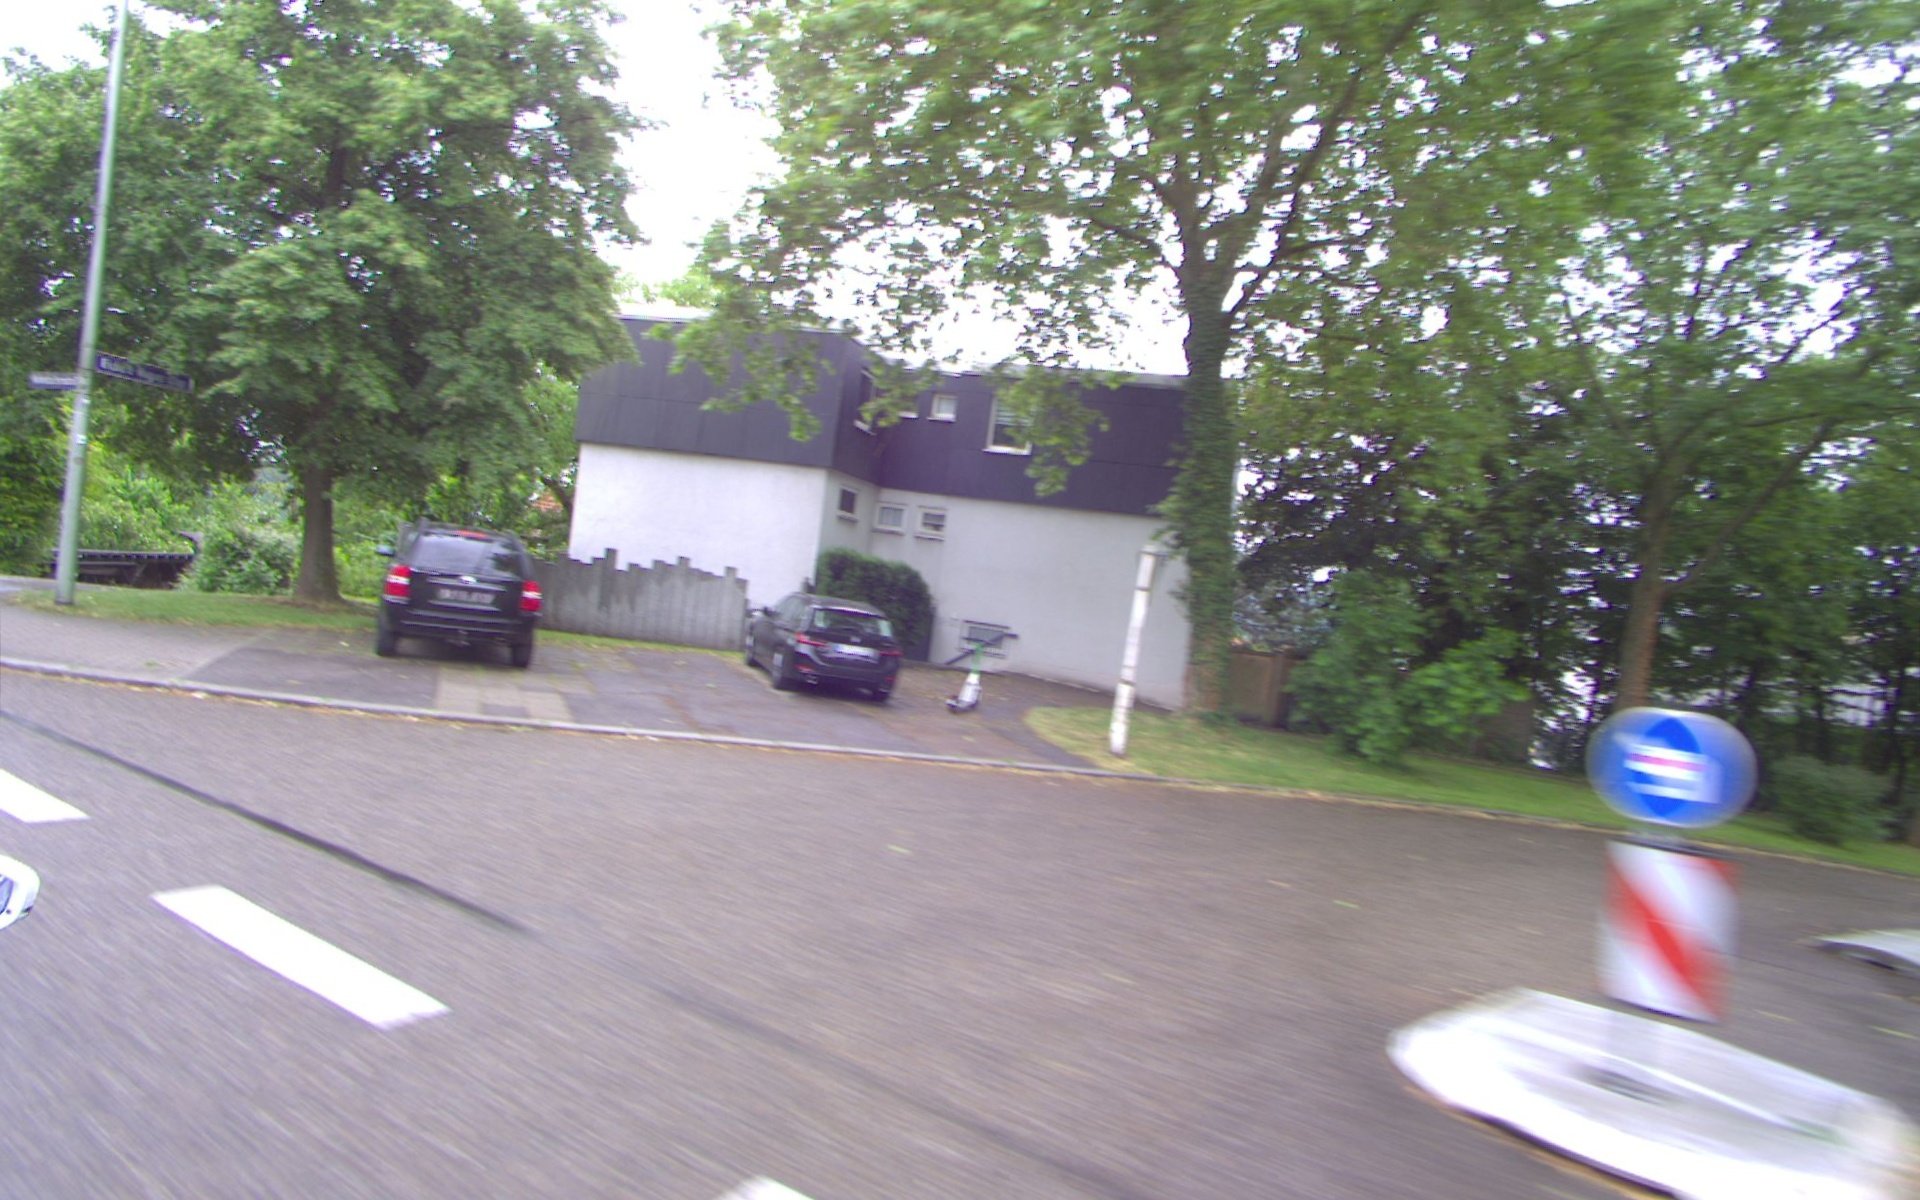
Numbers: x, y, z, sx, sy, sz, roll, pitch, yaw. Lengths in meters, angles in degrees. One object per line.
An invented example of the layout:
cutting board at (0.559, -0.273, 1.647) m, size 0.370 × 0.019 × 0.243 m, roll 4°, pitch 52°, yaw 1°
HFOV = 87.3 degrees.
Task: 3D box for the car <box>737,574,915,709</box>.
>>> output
car at (-2.337, 0.553, 16.322) m, size 1.733 × 1.488 × 4.541 m, roll 9°, pitch 1°, yaw -21°

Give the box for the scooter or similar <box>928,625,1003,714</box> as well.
scooter or similar at (0.105, 1.076, 15.839) m, size 0.552 × 1.302 × 1.338 m, roll 6°, pitch 1°, yaw 26°

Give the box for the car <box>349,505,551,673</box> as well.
car at (-7.119, -0.281, 13.909) m, size 1.933 × 1.710 × 4.863 m, roll 8°, pitch 1°, yaw -30°
